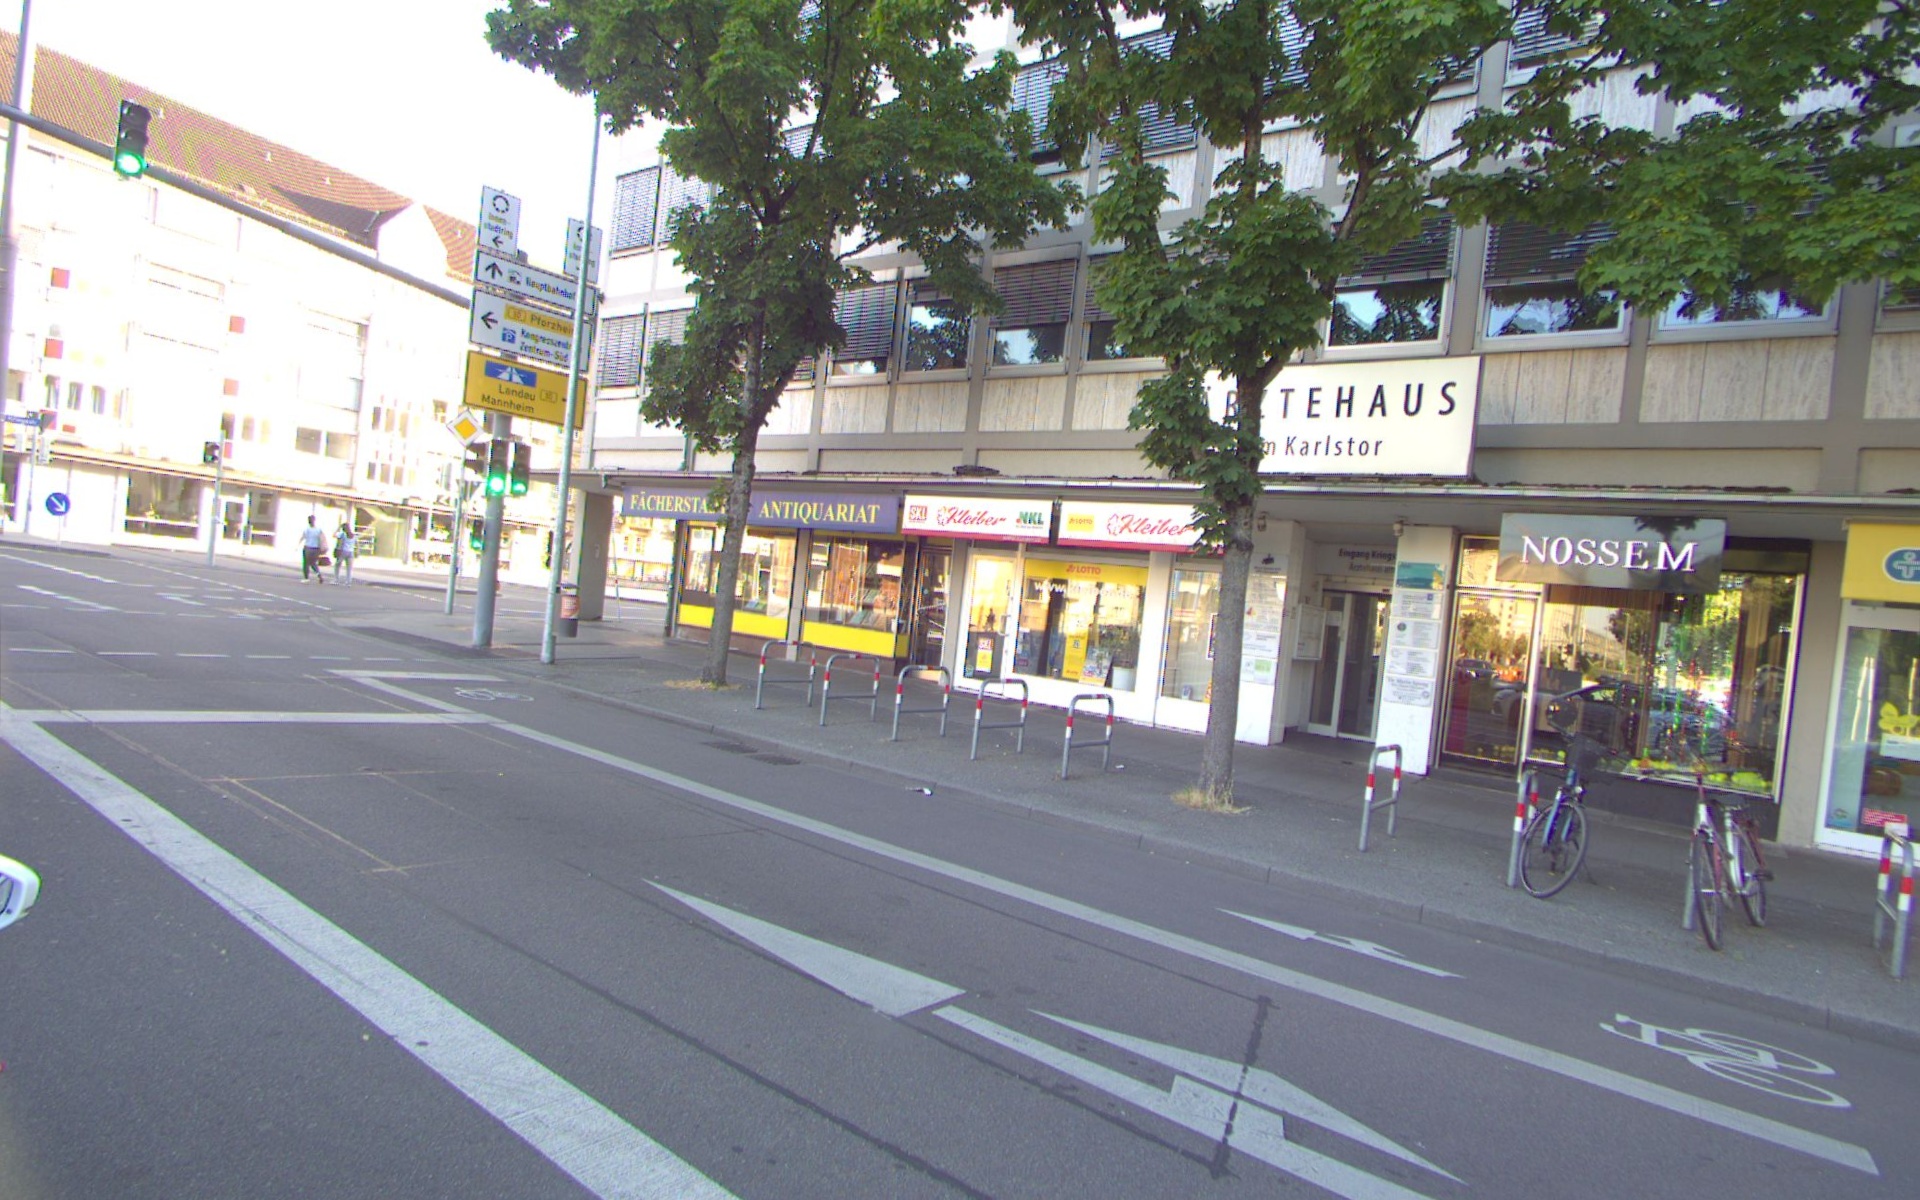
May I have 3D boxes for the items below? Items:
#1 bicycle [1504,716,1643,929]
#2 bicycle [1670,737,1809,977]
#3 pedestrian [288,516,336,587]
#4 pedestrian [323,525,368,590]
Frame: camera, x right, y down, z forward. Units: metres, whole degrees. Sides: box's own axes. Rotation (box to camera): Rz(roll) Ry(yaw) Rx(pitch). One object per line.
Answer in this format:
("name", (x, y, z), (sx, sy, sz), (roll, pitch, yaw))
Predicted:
("bicycle", (4.381, 1.519, 7.295), (0.655, 1.155, 1.742), (7, 1, 29))
("bicycle", (5.018, 1.575, 6.539), (0.530, 1.200, 1.631), (7, 1, 36))
("pedestrian", (-16.202, -1.204, 25.165), (0.716, 1.670, 0.768), (6, 1, -19))
("pedestrian", (-15.933, -1.098, 26.100), (0.695, 1.603, 0.822), (6, 1, -19))
